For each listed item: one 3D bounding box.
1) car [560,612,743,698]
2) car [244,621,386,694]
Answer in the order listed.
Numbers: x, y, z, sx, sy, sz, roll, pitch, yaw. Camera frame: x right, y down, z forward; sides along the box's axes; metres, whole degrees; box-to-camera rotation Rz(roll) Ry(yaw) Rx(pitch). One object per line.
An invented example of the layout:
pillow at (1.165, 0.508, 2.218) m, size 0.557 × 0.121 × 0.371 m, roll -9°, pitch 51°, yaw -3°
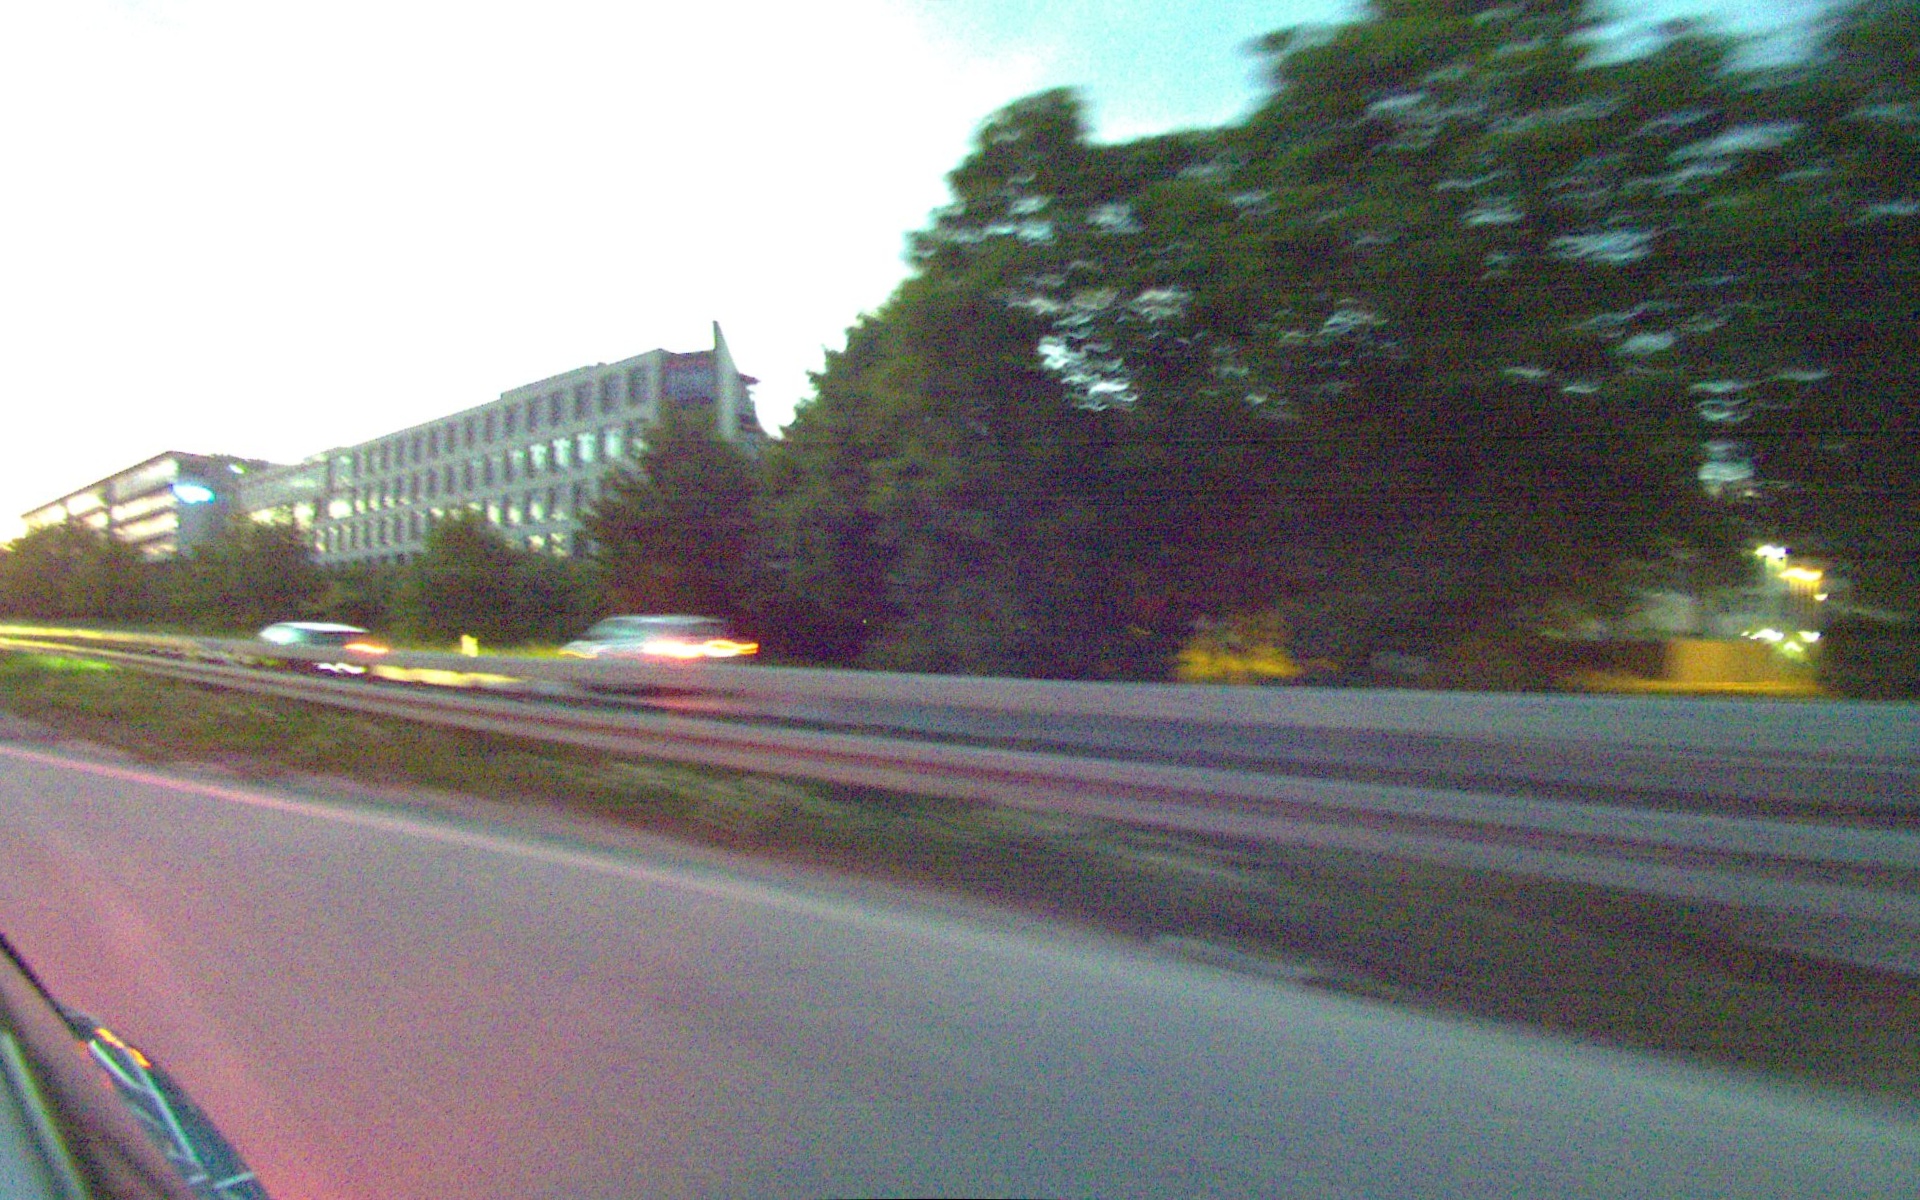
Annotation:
car at (-6.552, 1.095, 21.243) m, size 4.305 × 1.635 × 1.683 m, roll -2°, pitch -2°, yaw 42°
car at (-15.043, 1.295, 23.527) m, size 3.997 × 1.545 × 1.675 m, roll -2°, pitch -2°, yaw 40°
